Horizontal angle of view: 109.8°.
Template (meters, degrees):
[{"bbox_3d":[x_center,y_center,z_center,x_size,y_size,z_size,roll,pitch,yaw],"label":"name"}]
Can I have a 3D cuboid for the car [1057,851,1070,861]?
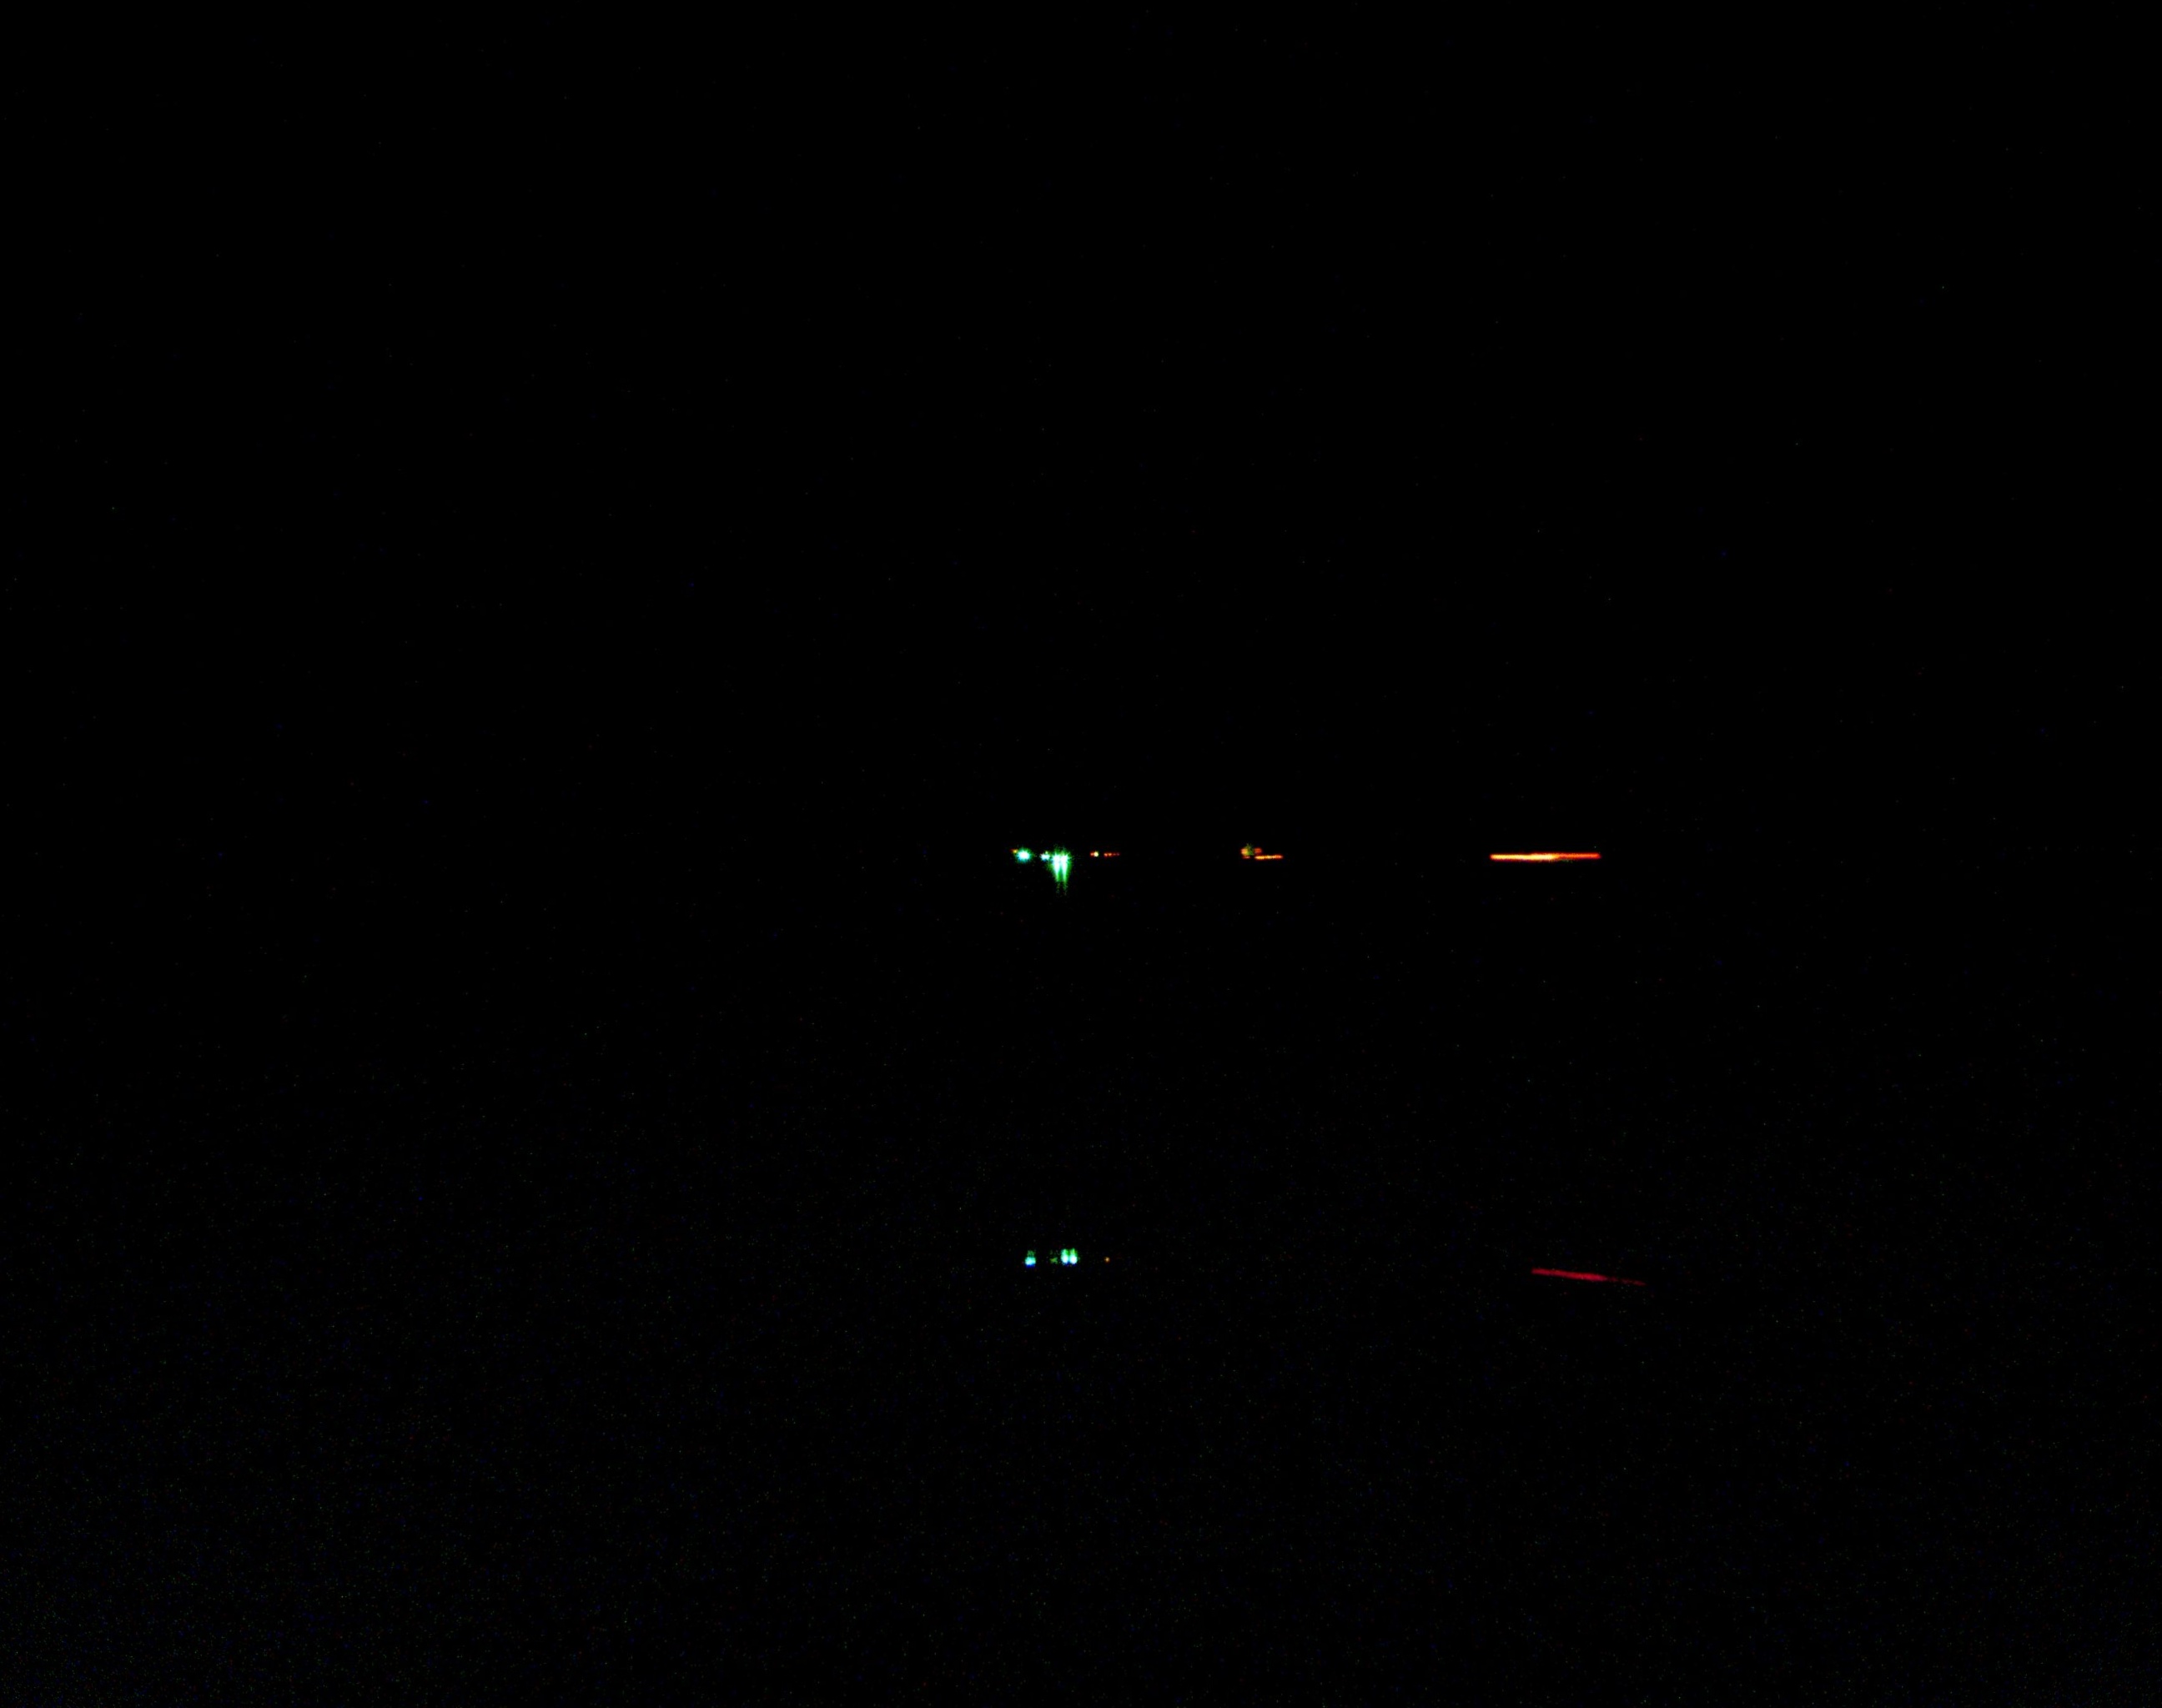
[{"bbox_3d":[-3.255,0.374,139.801,2.155,1.558,4.580,-2,1,-3],"label":"car"}]

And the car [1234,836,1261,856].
[{"bbox_3d":[22.006,-1.096,100.450,2.087,2.473,6.241,-2,1,-1],"label":"car"}]

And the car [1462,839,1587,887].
[{"bbox_3d":[15.472,0.260,26.798,1.907,1.496,4.273,-2,1,0],"label":"car"}]

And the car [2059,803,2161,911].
[{"bbox_3d":[19.053,0.046,11.210,1.998,1.811,5.687,-2,1,1],"label":"car"}]

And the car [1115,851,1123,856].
[{"bbox_3d":[12.529,-0.057,250.224,1.999,1.499,4.399,-2,1,-2],"label":"car"}]

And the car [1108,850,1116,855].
[{"bbox_3d":[9.592,-0.402,235.669,1.999,1.471,4.927,-2,1,-4],"label":"car"}]

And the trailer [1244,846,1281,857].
[{"bbox_3d":[22.178,-0.325,93.275,2.421,1.098,8.075,-2,1,-1],"label":"trailer"}]
